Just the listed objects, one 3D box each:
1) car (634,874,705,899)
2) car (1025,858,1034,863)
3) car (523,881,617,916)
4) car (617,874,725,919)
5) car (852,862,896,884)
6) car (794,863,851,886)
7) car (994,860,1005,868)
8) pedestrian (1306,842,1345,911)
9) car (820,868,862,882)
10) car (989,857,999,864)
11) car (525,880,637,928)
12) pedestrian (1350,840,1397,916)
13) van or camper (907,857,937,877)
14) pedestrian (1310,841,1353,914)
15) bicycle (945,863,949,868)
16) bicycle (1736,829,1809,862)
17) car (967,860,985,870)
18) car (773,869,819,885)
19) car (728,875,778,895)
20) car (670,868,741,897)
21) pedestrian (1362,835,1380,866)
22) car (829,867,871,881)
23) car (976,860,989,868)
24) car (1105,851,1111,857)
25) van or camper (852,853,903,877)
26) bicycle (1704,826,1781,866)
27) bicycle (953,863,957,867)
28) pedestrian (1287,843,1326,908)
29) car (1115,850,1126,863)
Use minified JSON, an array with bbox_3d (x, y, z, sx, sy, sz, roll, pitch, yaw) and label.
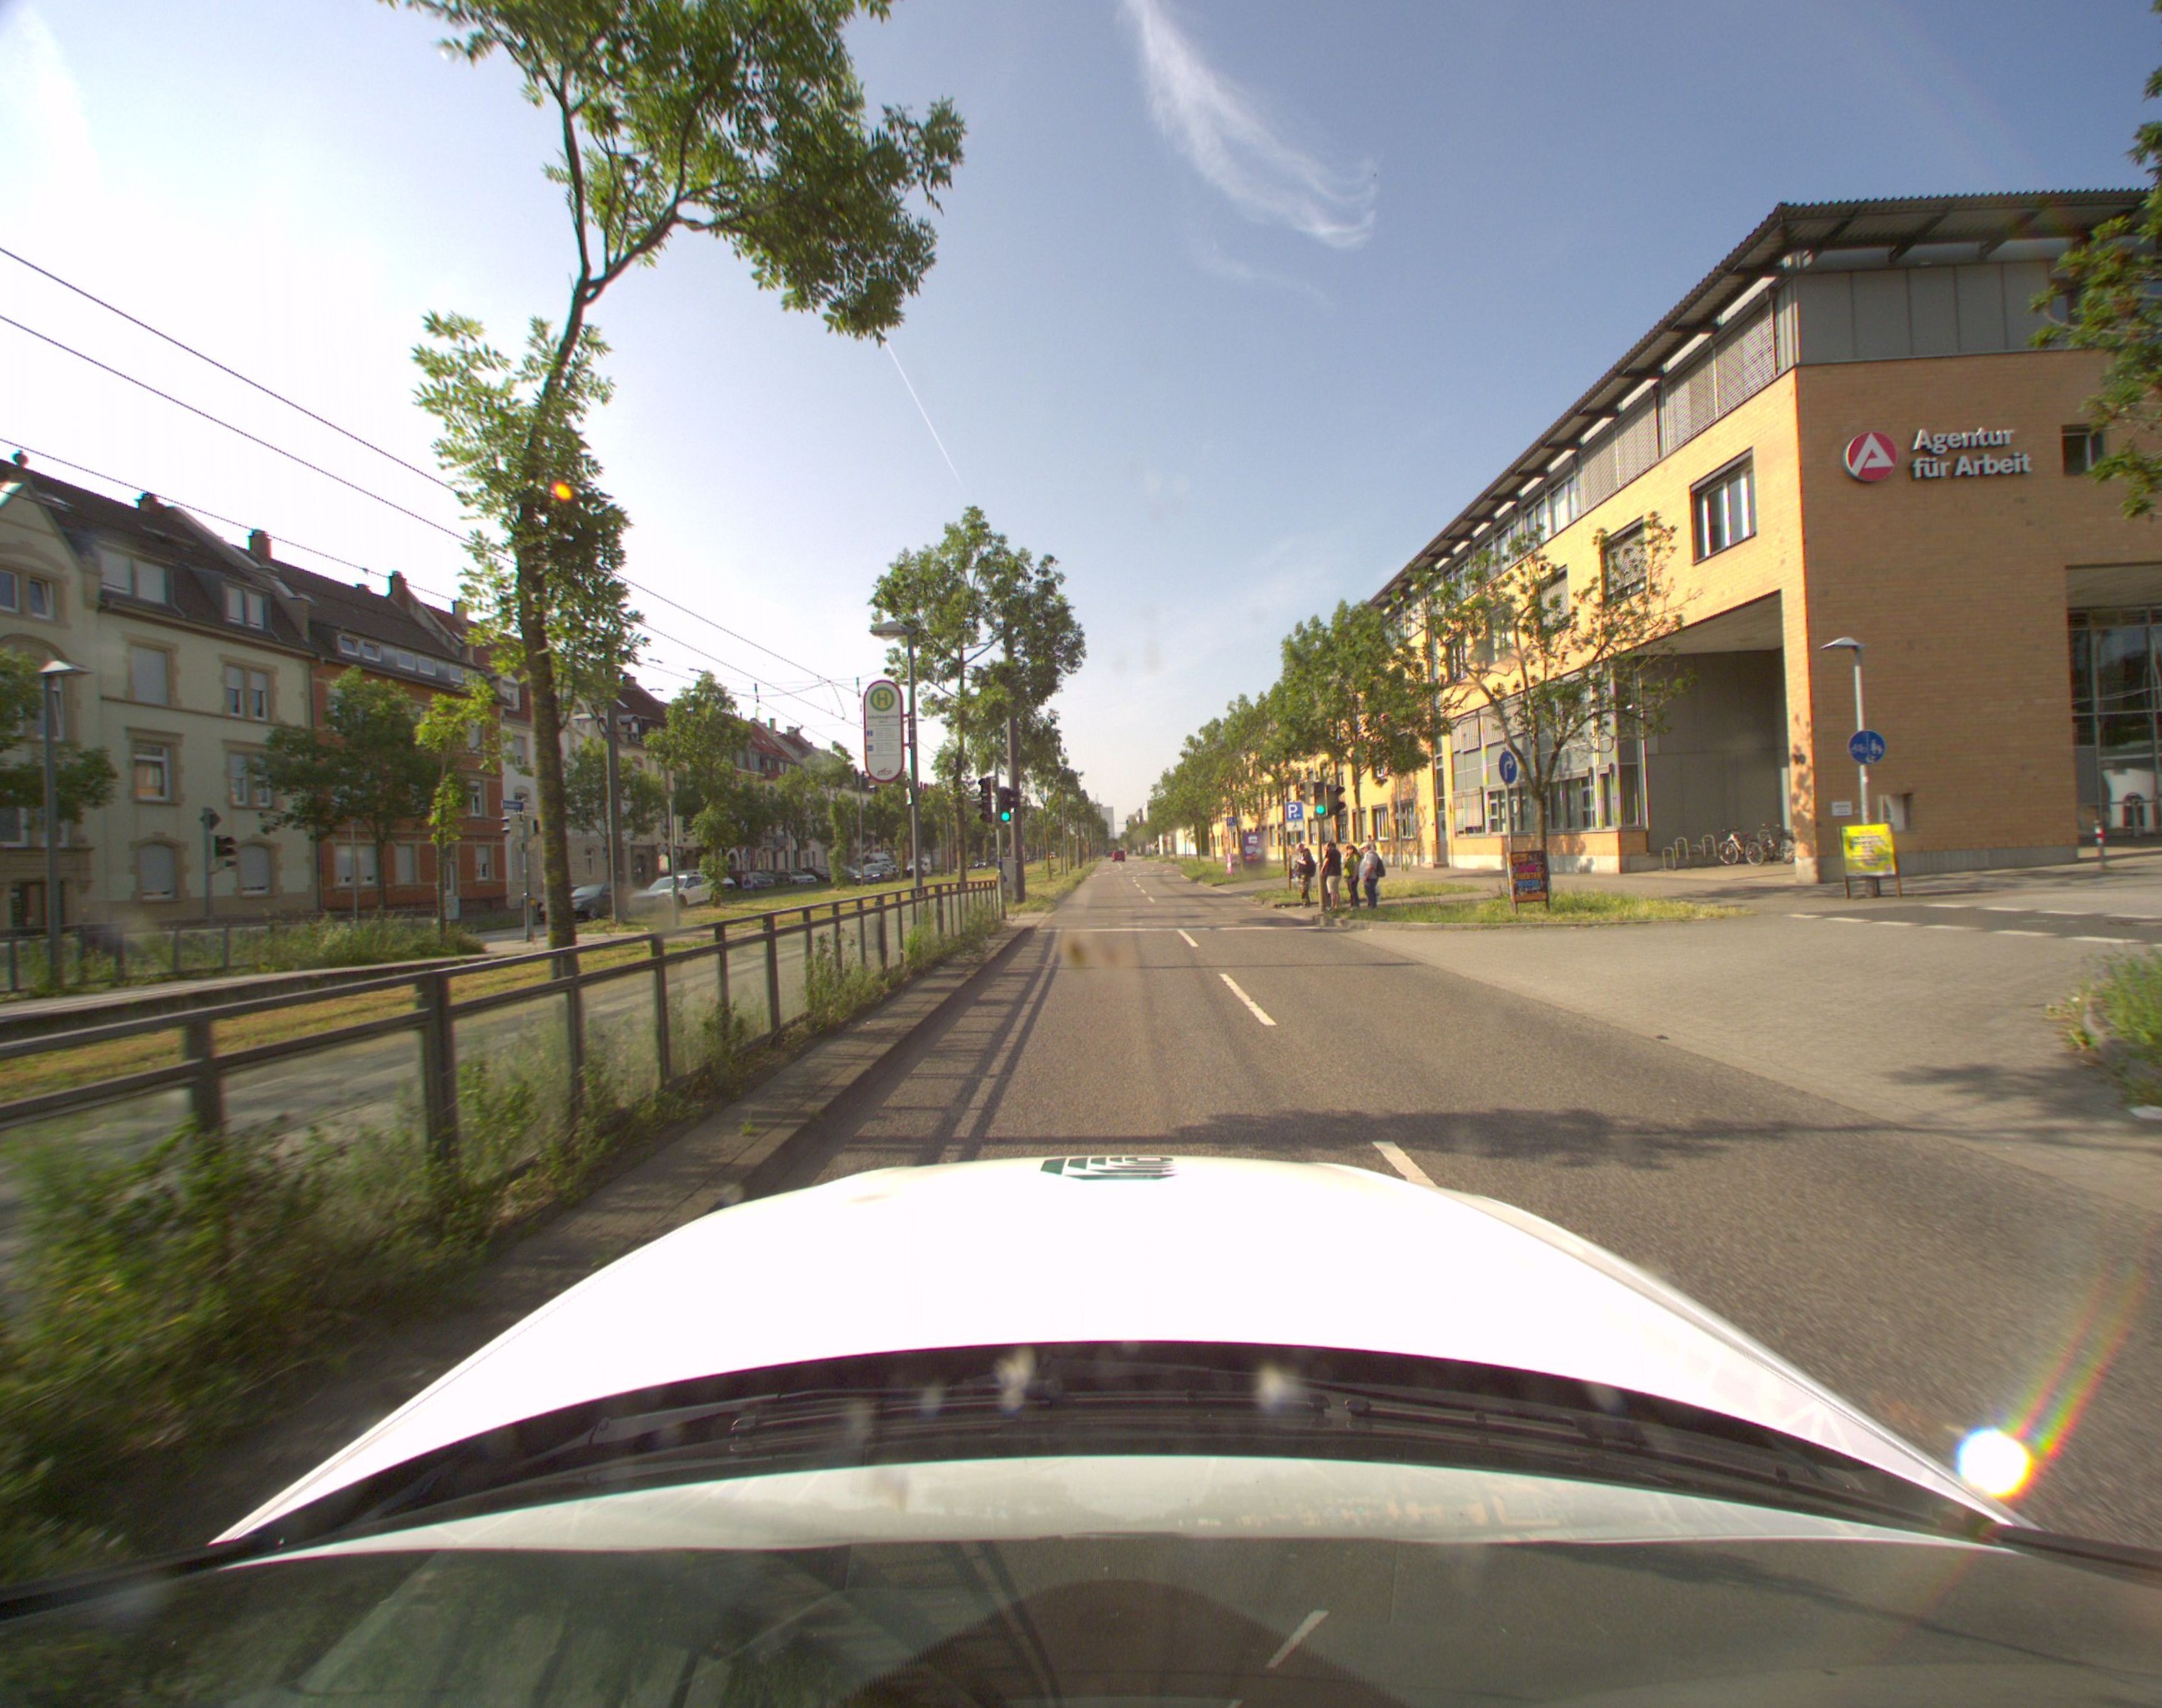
[{"bbox_3d":[-24.457,1.898,48.383,4.639,1.348,1.869,-1,-1,36],"label":"car"},{"bbox_3d":[-13.325,1.655,211.276,1.806,1.433,3.926,0,-1,1],"label":"car"},{"bbox_3d":[-24.366,2.133,38.793,4.715,1.485,2.036,-3,-2,33],"label":"car"},{"bbox_3d":[-15.868,1.591,31.773,1.765,1.440,4.426,-4,-1,2],"label":"car"},{"bbox_3d":[-14.797,1.334,58.517,1.827,1.533,4.578,0,0,2],"label":"car"},{"bbox_3d":[-22.526,1.784,70.906,4.590,1.742,1.845,-3,0,26],"label":"car"},{"bbox_3d":[-17.202,2.118,172.291,1.758,1.655,4.001,0,-1,1],"label":"car"},{"bbox_3d":[6.039,0.550,20.135,0.633,1.646,0.608,-4,-1,-2],"label":"pedestrian"},{"bbox_3d":[-21.864,1.886,74.136,3.639,1.241,1.673,-1,-1,32],"label":"car"},{"bbox_3d":[-20.707,1.570,194.093,1.987,1.628,4.775,0,0,0],"label":"car"},{"bbox_3d":[-18.651,1.825,30.594,1.662,1.514,3.999,-3,-1,0],"label":"car"},{"bbox_3d":[6.644,0.533,18.546,0.703,1.646,0.689,-4,-1,-1],"label":"pedestrian"},{"bbox_3d":[-16.729,1.356,85.864,1.944,2.097,5.354,0,-1,1],"label":"van or camper"},{"bbox_3d":[5.943,0.545,19.341,0.703,1.646,0.689,-4,-1,-1],"label":"pedestrian"},{"bbox_3d":[-25.359,2.199,154.367,0.436,0.789,1.947,0,-1,0],"label":"bicycle"},{"bbox_3d":[19.524,-0.219,23.043,0.525,0.890,1.838,-3,-1,2],"label":"bicycle"},{"bbox_3d":[-16.883,1.744,131.020,1.985,1.630,5.384,0,0,3],"label":"car"},{"bbox_3d":[-22.400,1.808,63.990,3.639,1.241,1.673,-1,-1,36],"label":"car"},{"bbox_3d":[-23.130,2.158,57.426,3.639,1.241,1.536,-1,2,35],"label":"car"},{"bbox_3d":[-23.635,1.733,51.191,4.888,1.726,1.869,-1,-1,36],"label":"car"},{"bbox_3d":[15.455,-0.192,43.448,0.693,1.656,0.773,0,-1,2],"label":"pedestrian"},{"bbox_3d":[-21.884,1.888,77.043,3.963,1.316,1.673,-1,-1,36],"label":"car"},{"bbox_3d":[-17.719,1.850,146.820,1.942,1.459,4.646,0,0,-1],"label":"car"},{"bbox_3d":[7.093,0.033,214.048,1.742,1.505,3.216,0,-1,1],"label":"car"},{"bbox_3d":[-22.703,1.208,90.801,5.849,2.573,2.213,-1,-1,36],"label":"van or camper"},{"bbox_3d":[18.708,-0.207,23.080,0.648,1.041,1.838,-6,0,2],"label":"bicycle"},{"bbox_3d":[-24.903,2.217,161.003,0.446,0.857,1.947,0,-1,0],"label":"bicycle"},{"bbox_3d":[5.937,0.562,21.484,0.703,1.646,0.689,-4,-1,-1],"label":"pedestrian"},{"bbox_3d":[6.341,0.348,129.911,1.741,2.014,3.218,0,-1,3],"label":"car"}]
